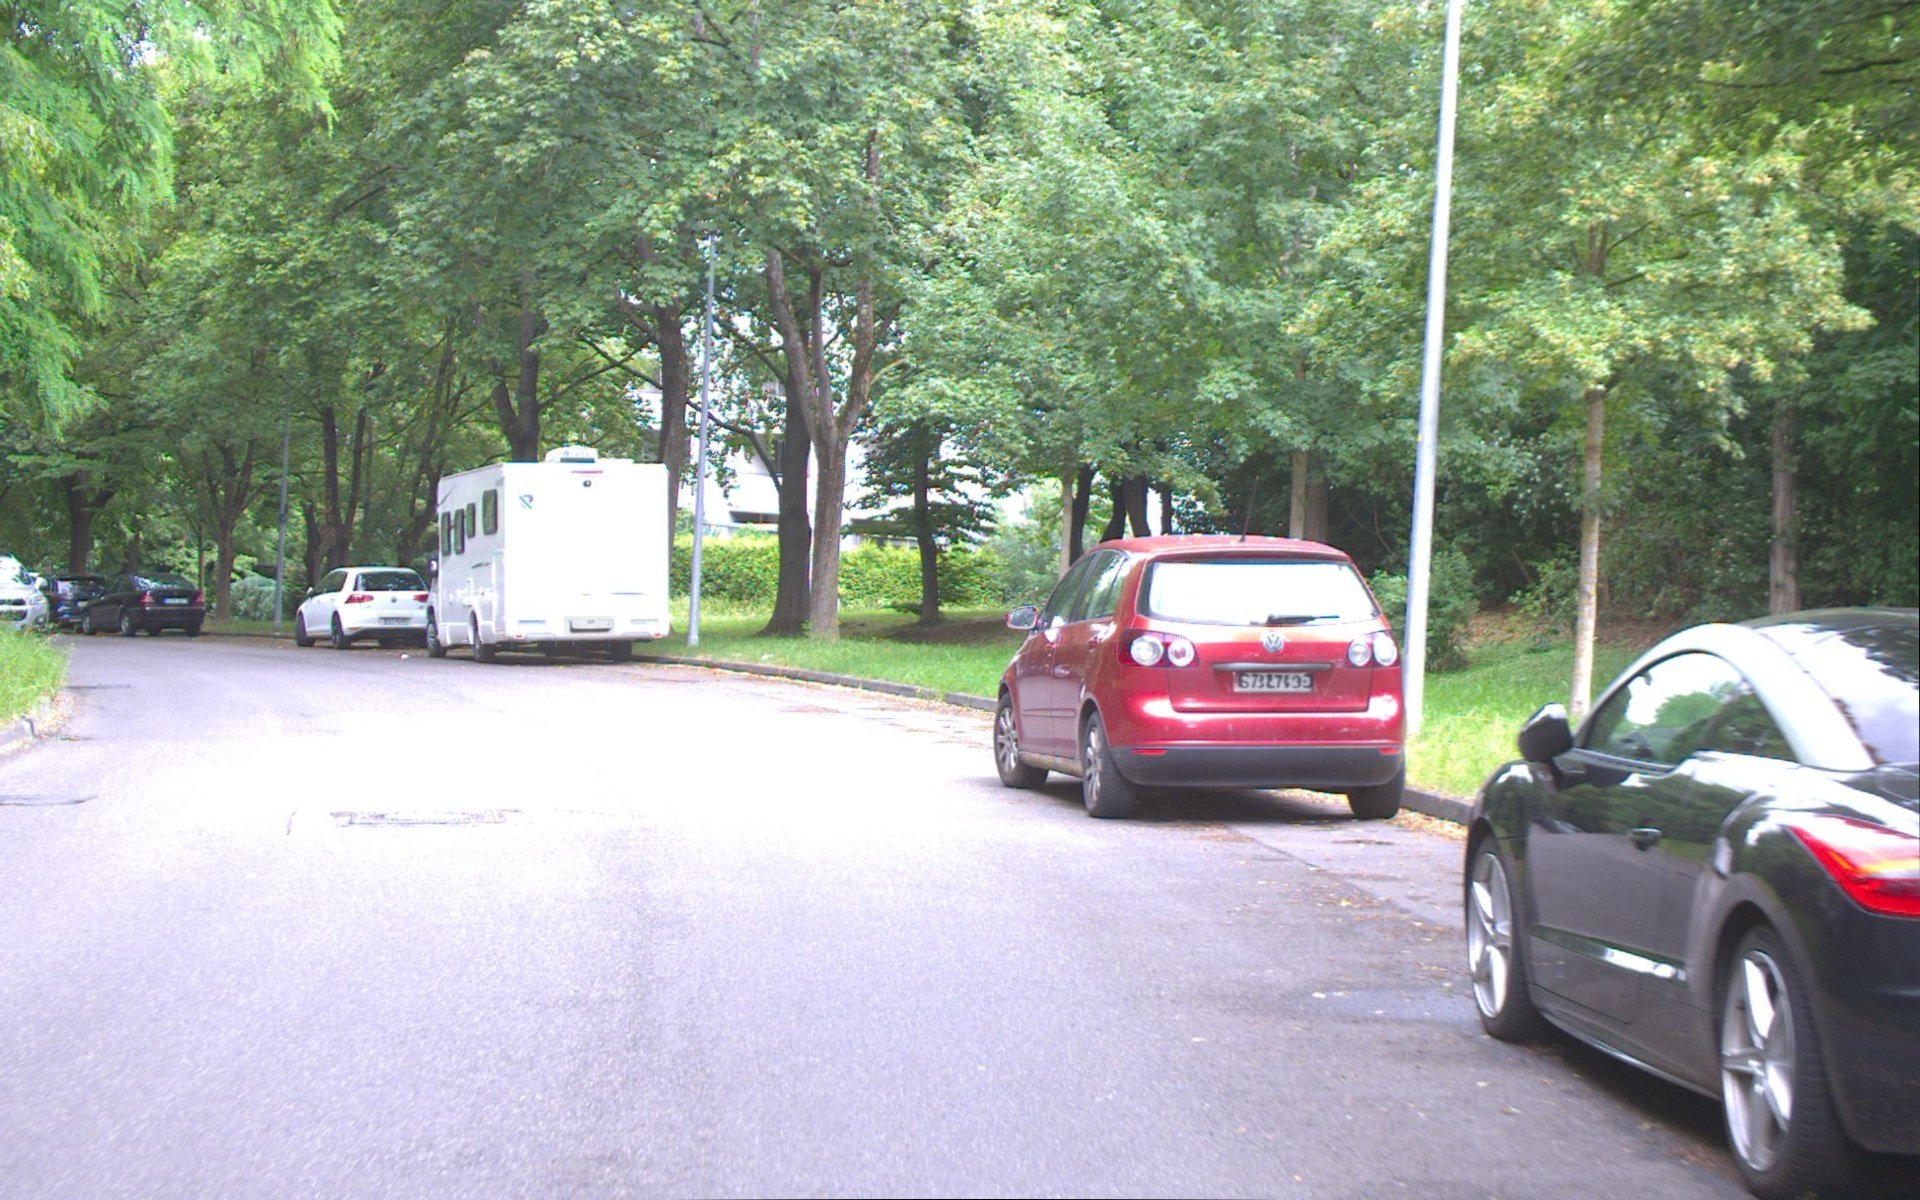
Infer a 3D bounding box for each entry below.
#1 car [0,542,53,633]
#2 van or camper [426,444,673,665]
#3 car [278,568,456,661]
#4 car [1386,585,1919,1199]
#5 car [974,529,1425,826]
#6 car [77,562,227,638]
[{"bbox_3d":[-18.298,-0.262,65.340,1.857,1.658,4.572,-1,1,-17],"label":"car"},{"bbox_3d":[-5.972,-0.677,49.400,2.428,2.997,5.211,0,1,-19],"label":"van or camper"},{"bbox_3d":[-10.697,0.241,61.812,1.993,1.468,4.001,3,0,-27],"label":"car"},{"bbox_3d":[2.494,0.669,9.279,1.750,1.332,4.416,2,1,-5],"label":"car"},{"bbox_3d":[1.285,0.402,20.156,1.738,1.557,4.001,1,0,-9],"label":"car"},{"bbox_3d":[-18.062,-0.015,76.759,1.993,1.495,4.000,3,0,-32],"label":"car"}]
